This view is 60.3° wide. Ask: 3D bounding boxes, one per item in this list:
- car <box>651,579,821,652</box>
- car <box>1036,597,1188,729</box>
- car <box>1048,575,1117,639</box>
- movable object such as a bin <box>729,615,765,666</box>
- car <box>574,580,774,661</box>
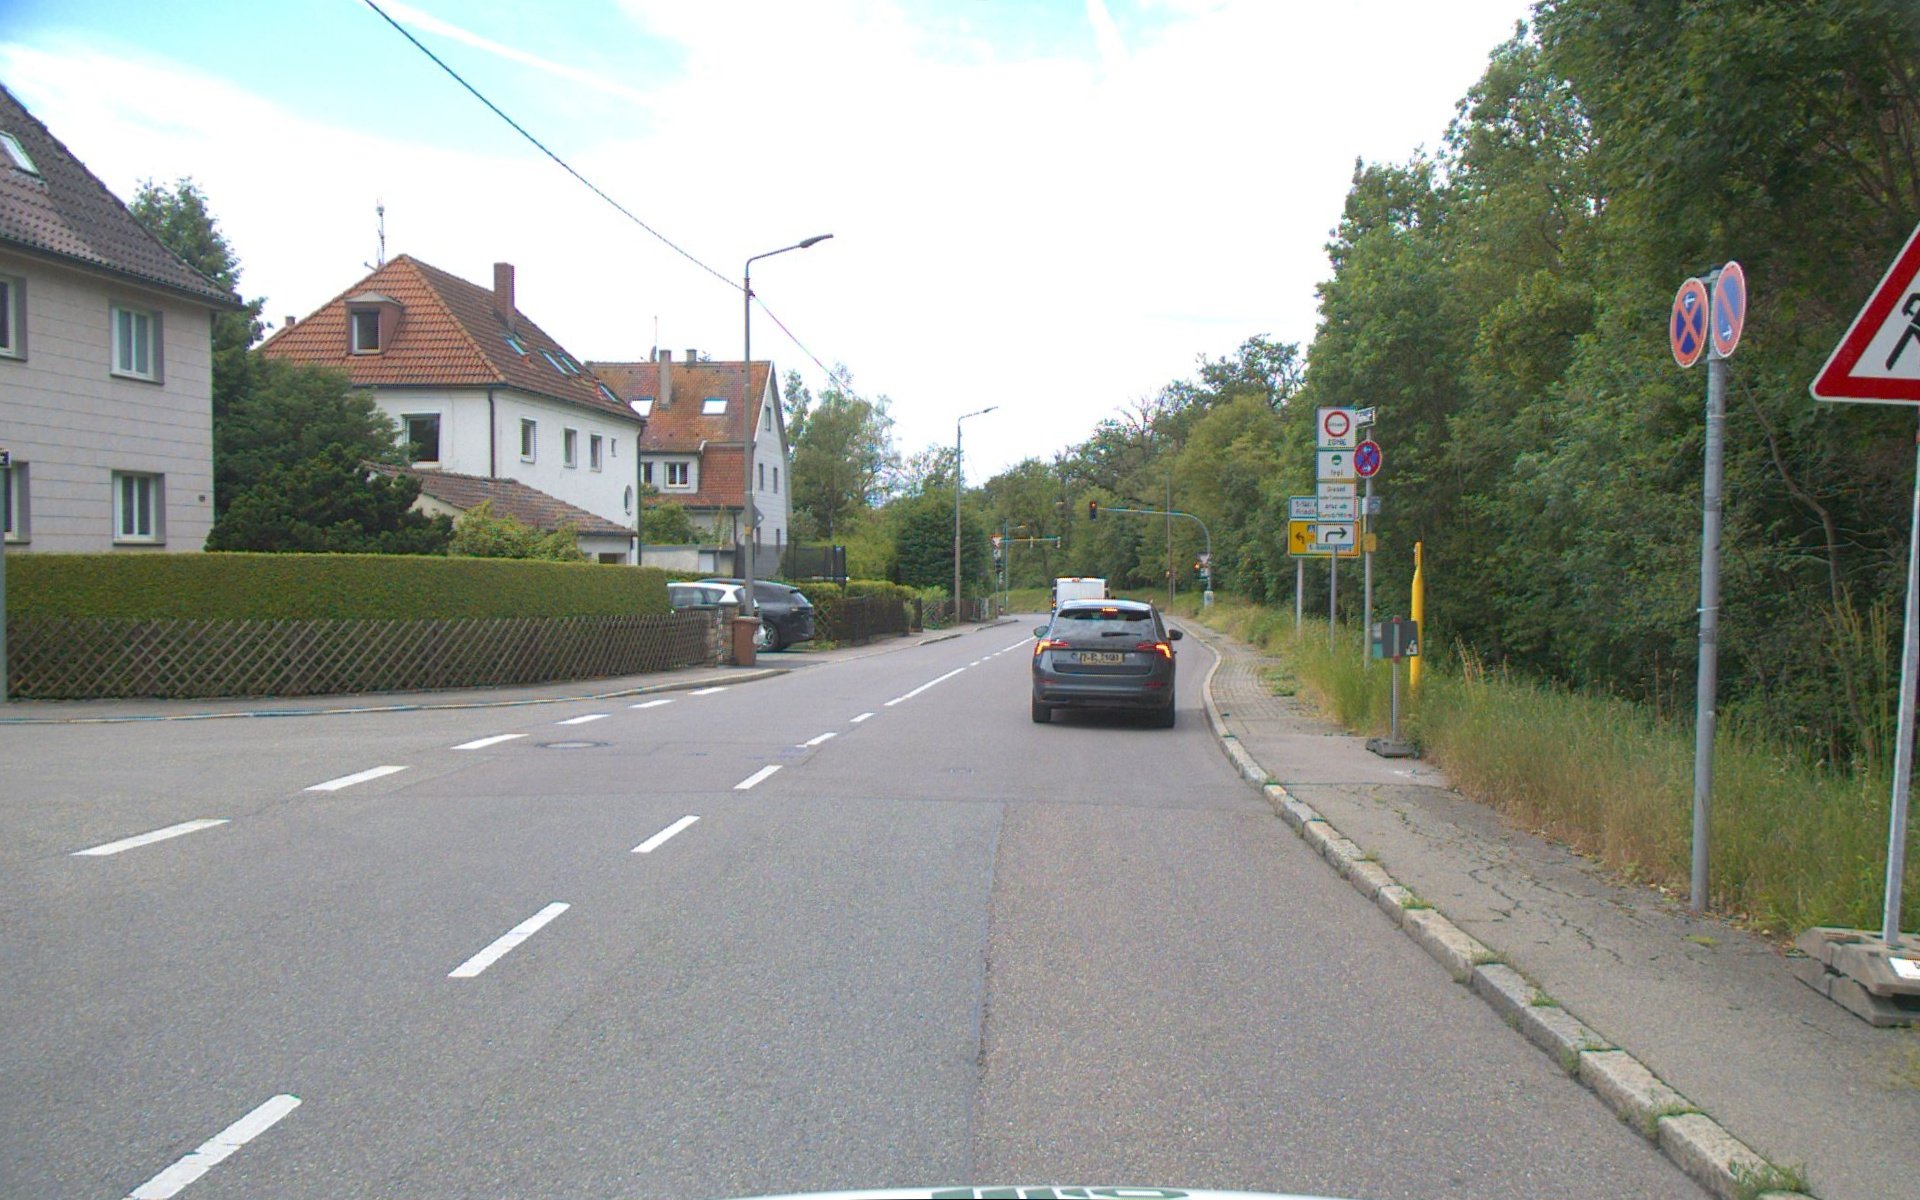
[{"bbox_3d":[-5.379,0.367,40.169,3.907,1.736,1.916,0,0,-3],"label":"car"},{"bbox_3d":[1.948,0.708,20.807,1.691,1.464,4.327,1,0,6],"label":"car"},{"bbox_3d":[3.920,0.223,53.649,2.028,1.956,4.923,1,0,2],"label":"car"},{"bbox_3d":[-4.074,0.777,31.687,0.587,0.967,0.579,0,0,2],"label":"movable object such as a bin"},{"bbox_3d":[-5.982,0.415,34.973,3.906,1.646,2.000,0,0,-1],"label":"car"}]
